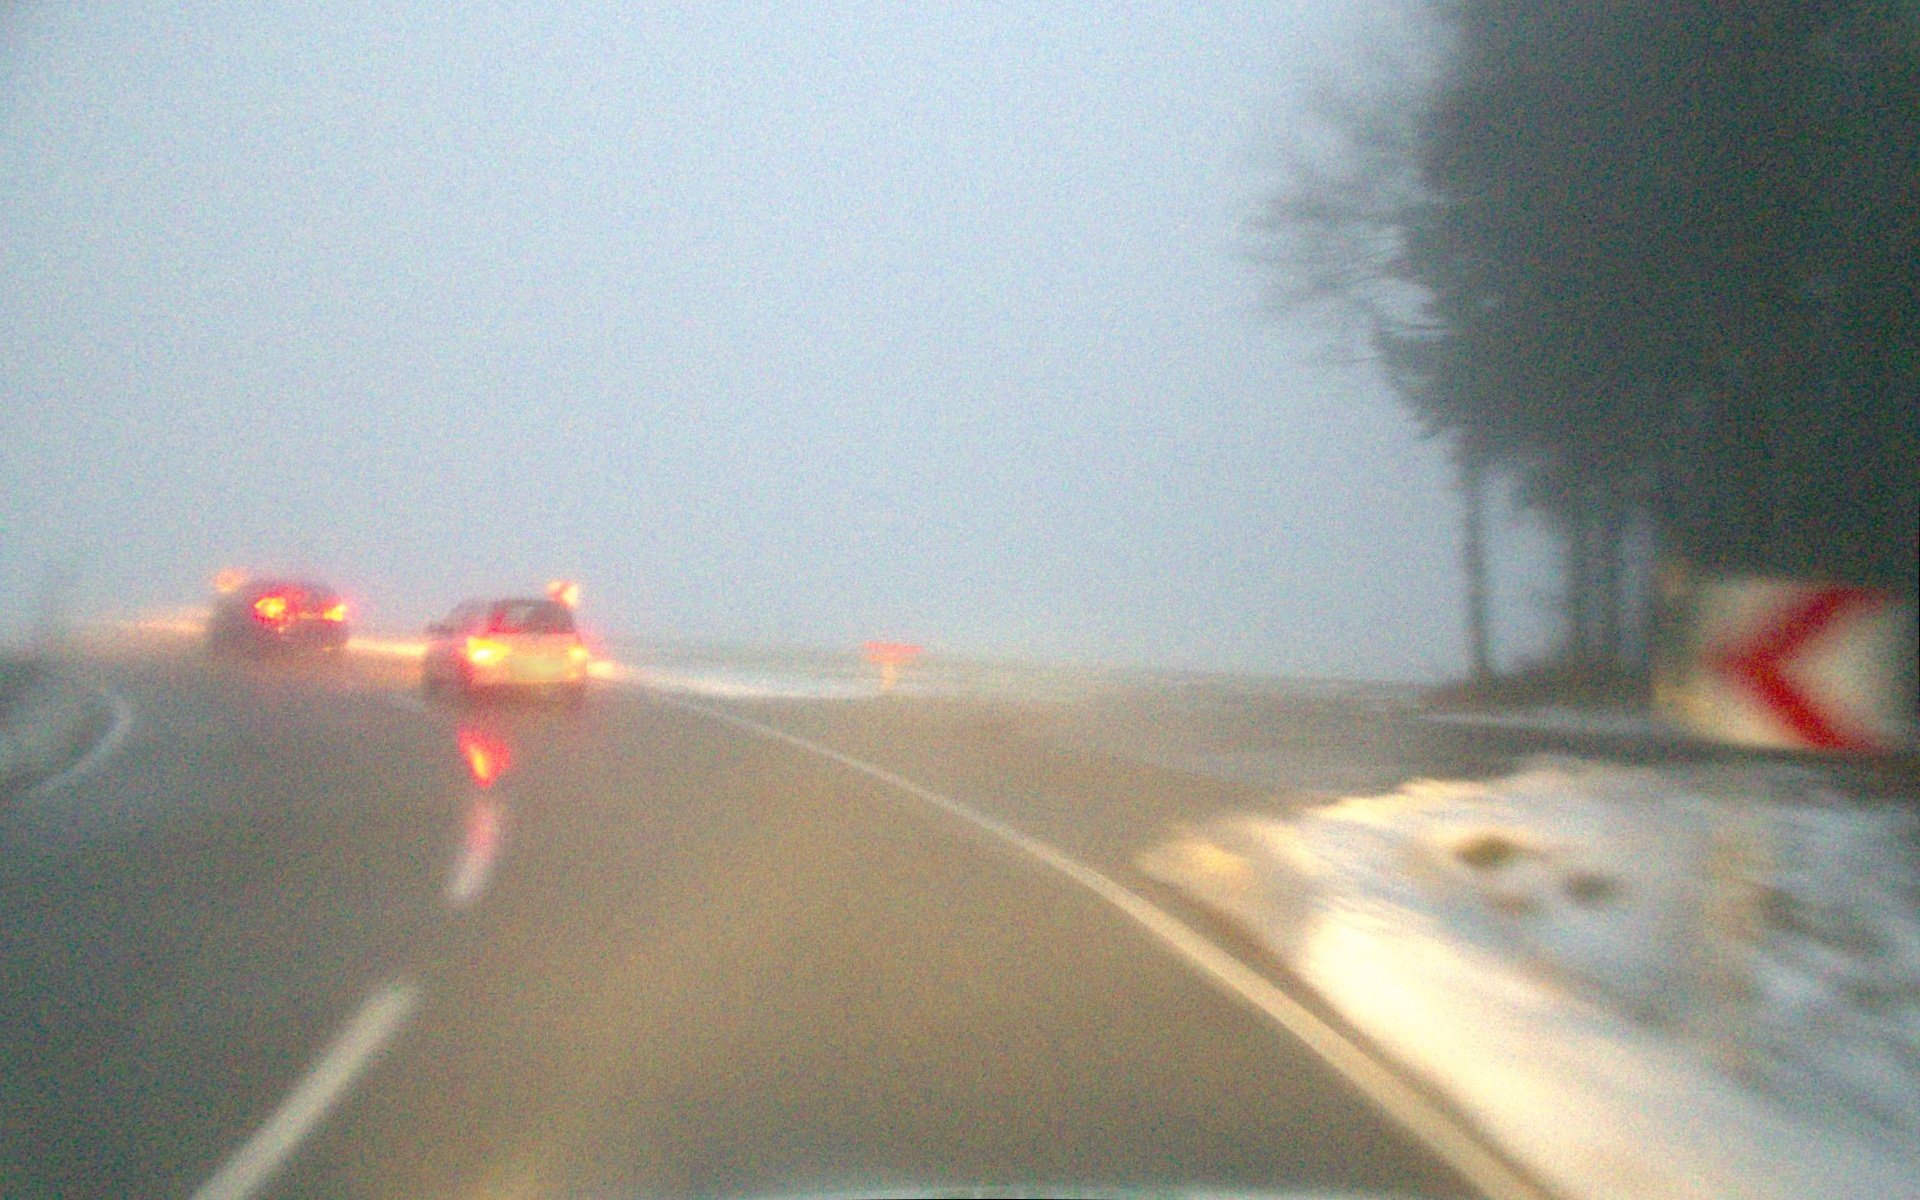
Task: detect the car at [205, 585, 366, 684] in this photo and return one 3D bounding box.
[{"bbox_3d":[-13.235,0.617,32.340,1.979,1.814,3.947,0,0,-37],"label":"car"}]

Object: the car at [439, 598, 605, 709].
[{"bbox_3d":[-6.240,0.683,23.280,1.917,1.405,3.977,0,0,-20],"label":"car"}]
